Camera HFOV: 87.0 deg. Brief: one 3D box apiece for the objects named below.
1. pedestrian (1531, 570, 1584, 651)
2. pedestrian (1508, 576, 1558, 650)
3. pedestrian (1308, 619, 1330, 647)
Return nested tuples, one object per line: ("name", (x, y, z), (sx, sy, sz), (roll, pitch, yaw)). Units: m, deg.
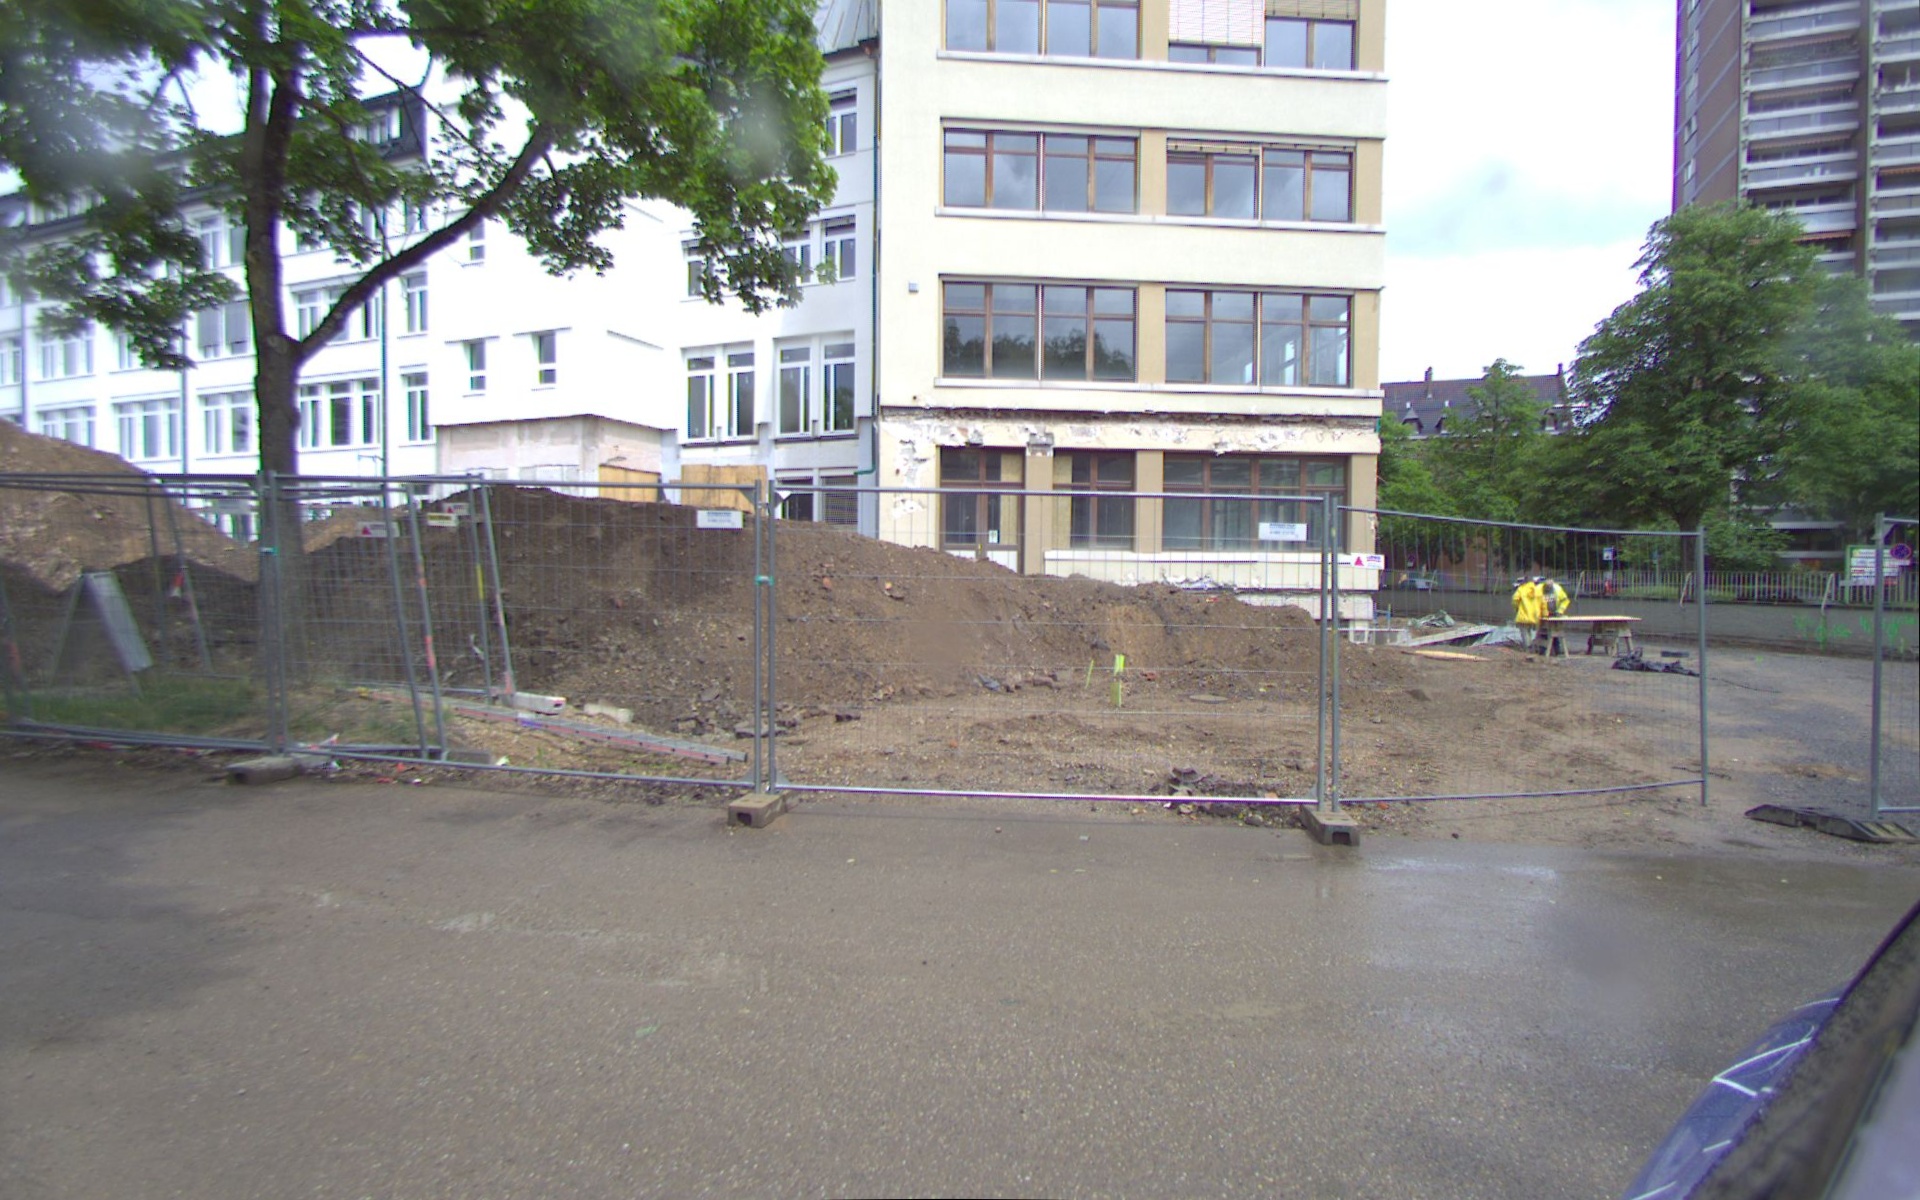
("pedestrian", (12.862, 0.215, 21.778), (0.700, 1.694, 0.776), (0, 1, -41))
("pedestrian", (12.055, 0.259, 21.303), (0.635, 1.527, 0.626), (1, 1, -18))
("pedestrian", (8.945, 0.818, 25.192), (0.384, 0.670, 0.347), (1, 1, -8))
